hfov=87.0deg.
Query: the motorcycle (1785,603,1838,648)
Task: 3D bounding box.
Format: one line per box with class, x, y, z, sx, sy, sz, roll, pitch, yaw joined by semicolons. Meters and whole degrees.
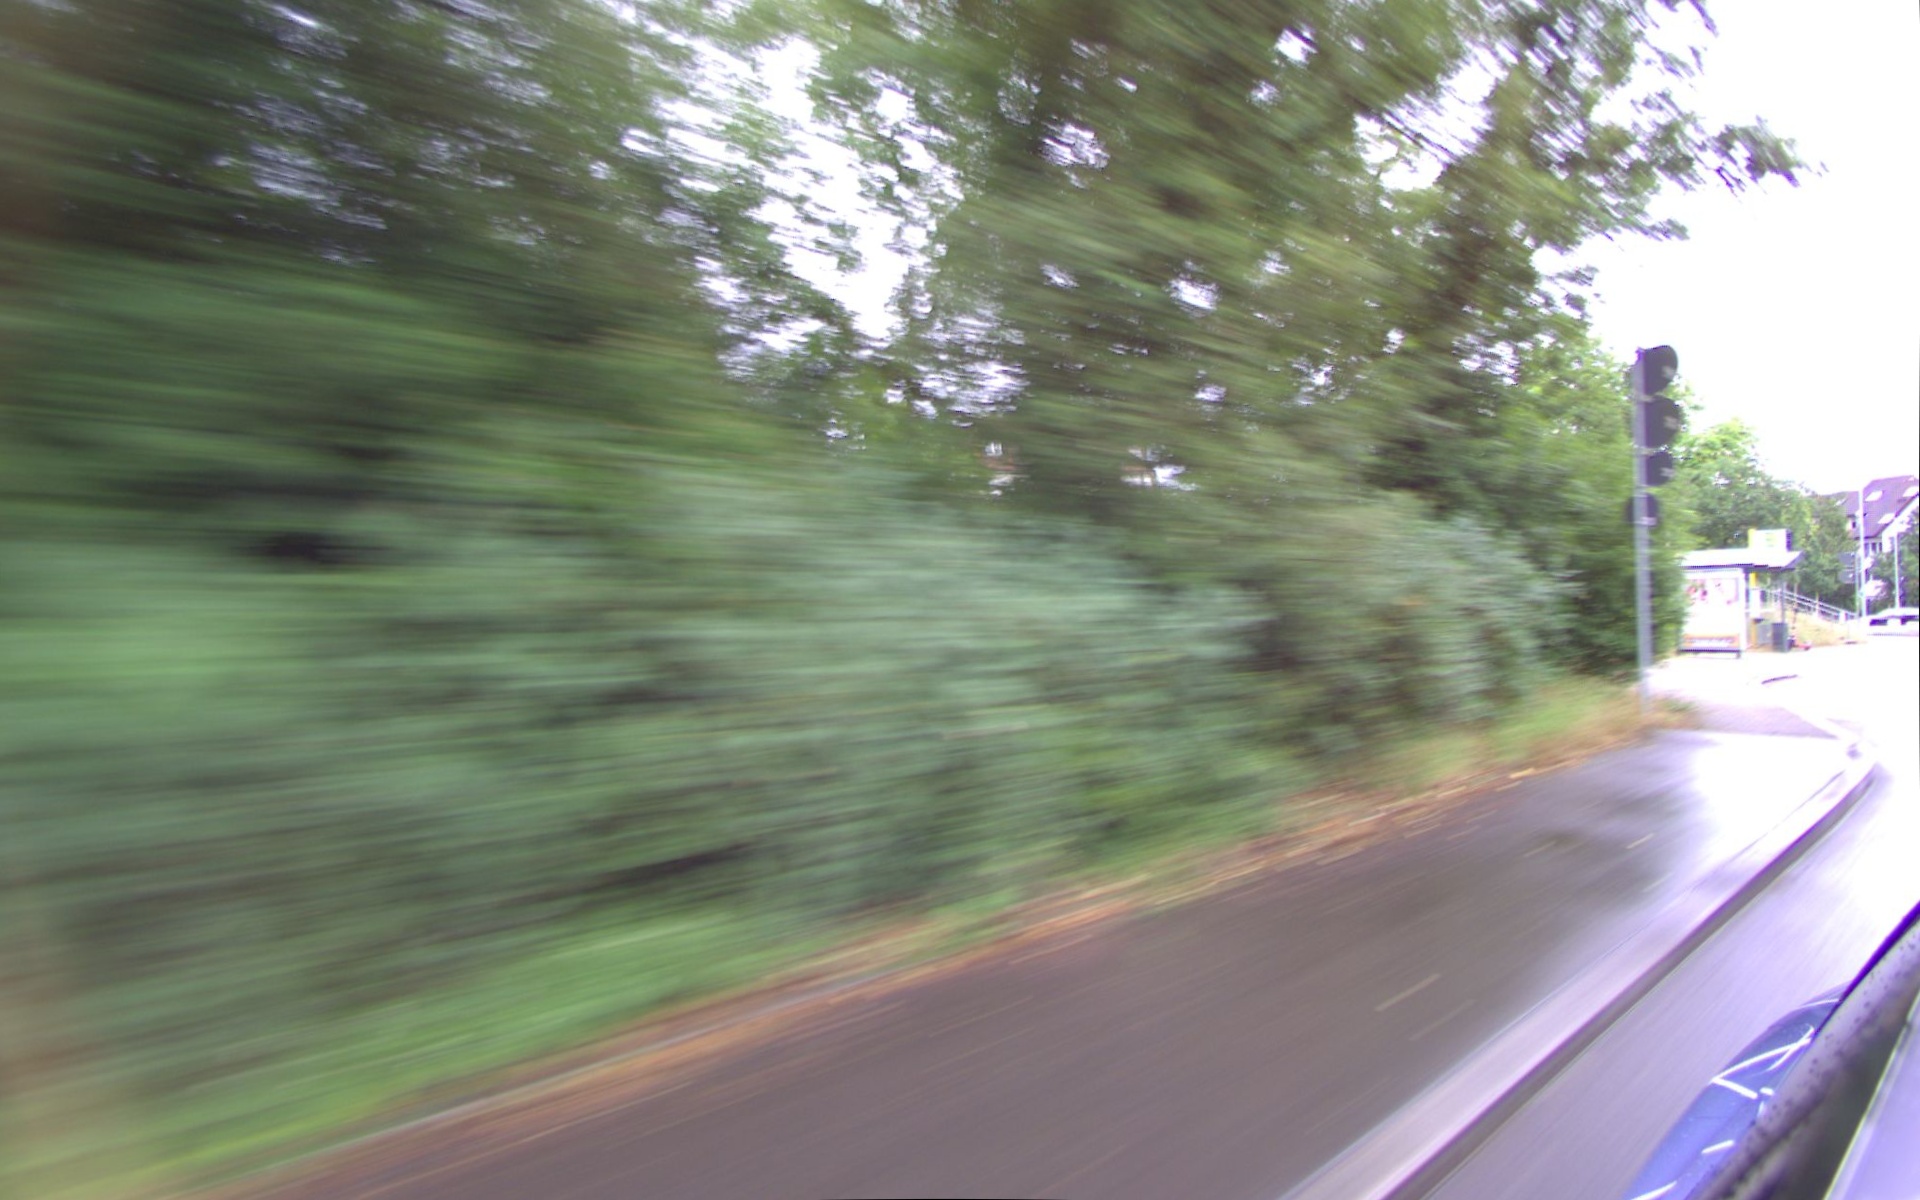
motorcycle;25.210;0.746;29.966;1.506;1.305;0.592;0;-1;-23
